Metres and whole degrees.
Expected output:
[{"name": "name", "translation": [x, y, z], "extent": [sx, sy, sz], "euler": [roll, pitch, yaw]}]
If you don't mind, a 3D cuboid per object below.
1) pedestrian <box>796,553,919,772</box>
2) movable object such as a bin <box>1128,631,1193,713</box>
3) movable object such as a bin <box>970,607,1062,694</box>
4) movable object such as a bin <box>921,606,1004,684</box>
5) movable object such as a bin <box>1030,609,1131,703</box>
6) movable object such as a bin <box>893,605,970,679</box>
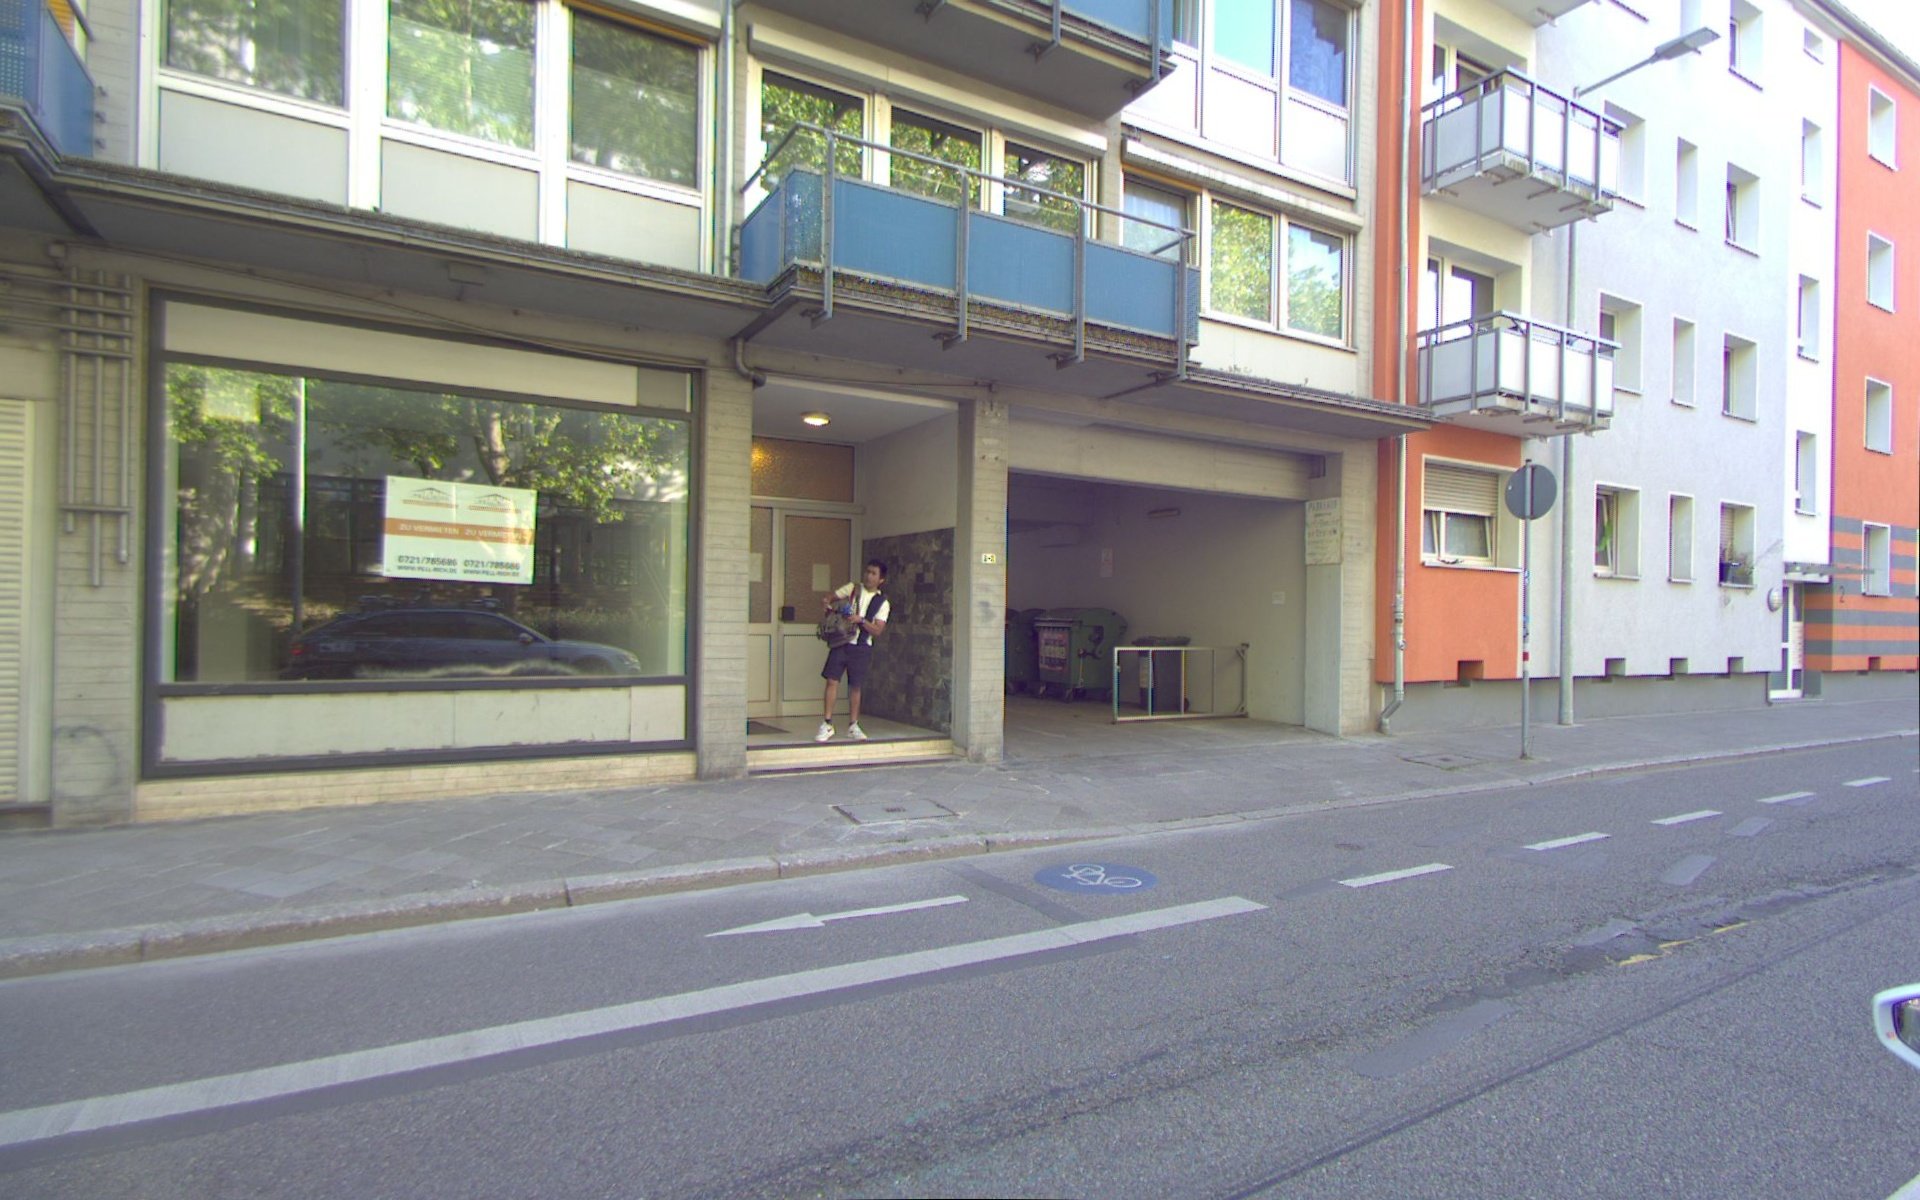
[{"name": "pedestrian", "translation": [-0.953, 0.550, 9.250], "extent": [0.882, 1.902, 0.703], "euler": [2, 0, -28]}, {"name": "movable object such as a bin", "translation": [2.885, 1.023, 14.457], "extent": [0.650, 1.115, 0.626], "euler": [2, 0, -27]}, {"name": "movable object such as a bin", "translation": [0.942, 0.841, 17.122], "extent": [1.066, 1.384, 1.255], "euler": [2, 0, -27]}, {"name": "movable object such as a bin", "translation": [0.031, 0.821, 18.691], "extent": [1.066, 1.384, 1.255], "euler": [2, 0, -27]}, {"name": "movable object such as a bin", "translation": [1.884, 0.864, 15.808], "extent": [1.066, 1.384, 1.192], "euler": [2, 0, -27]}, {"name": "movable object such as a bin", "translation": [-0.577, 0.807, 19.861], "extent": [1.066, 1.384, 1.255], "euler": [2, 0, -27]}]
